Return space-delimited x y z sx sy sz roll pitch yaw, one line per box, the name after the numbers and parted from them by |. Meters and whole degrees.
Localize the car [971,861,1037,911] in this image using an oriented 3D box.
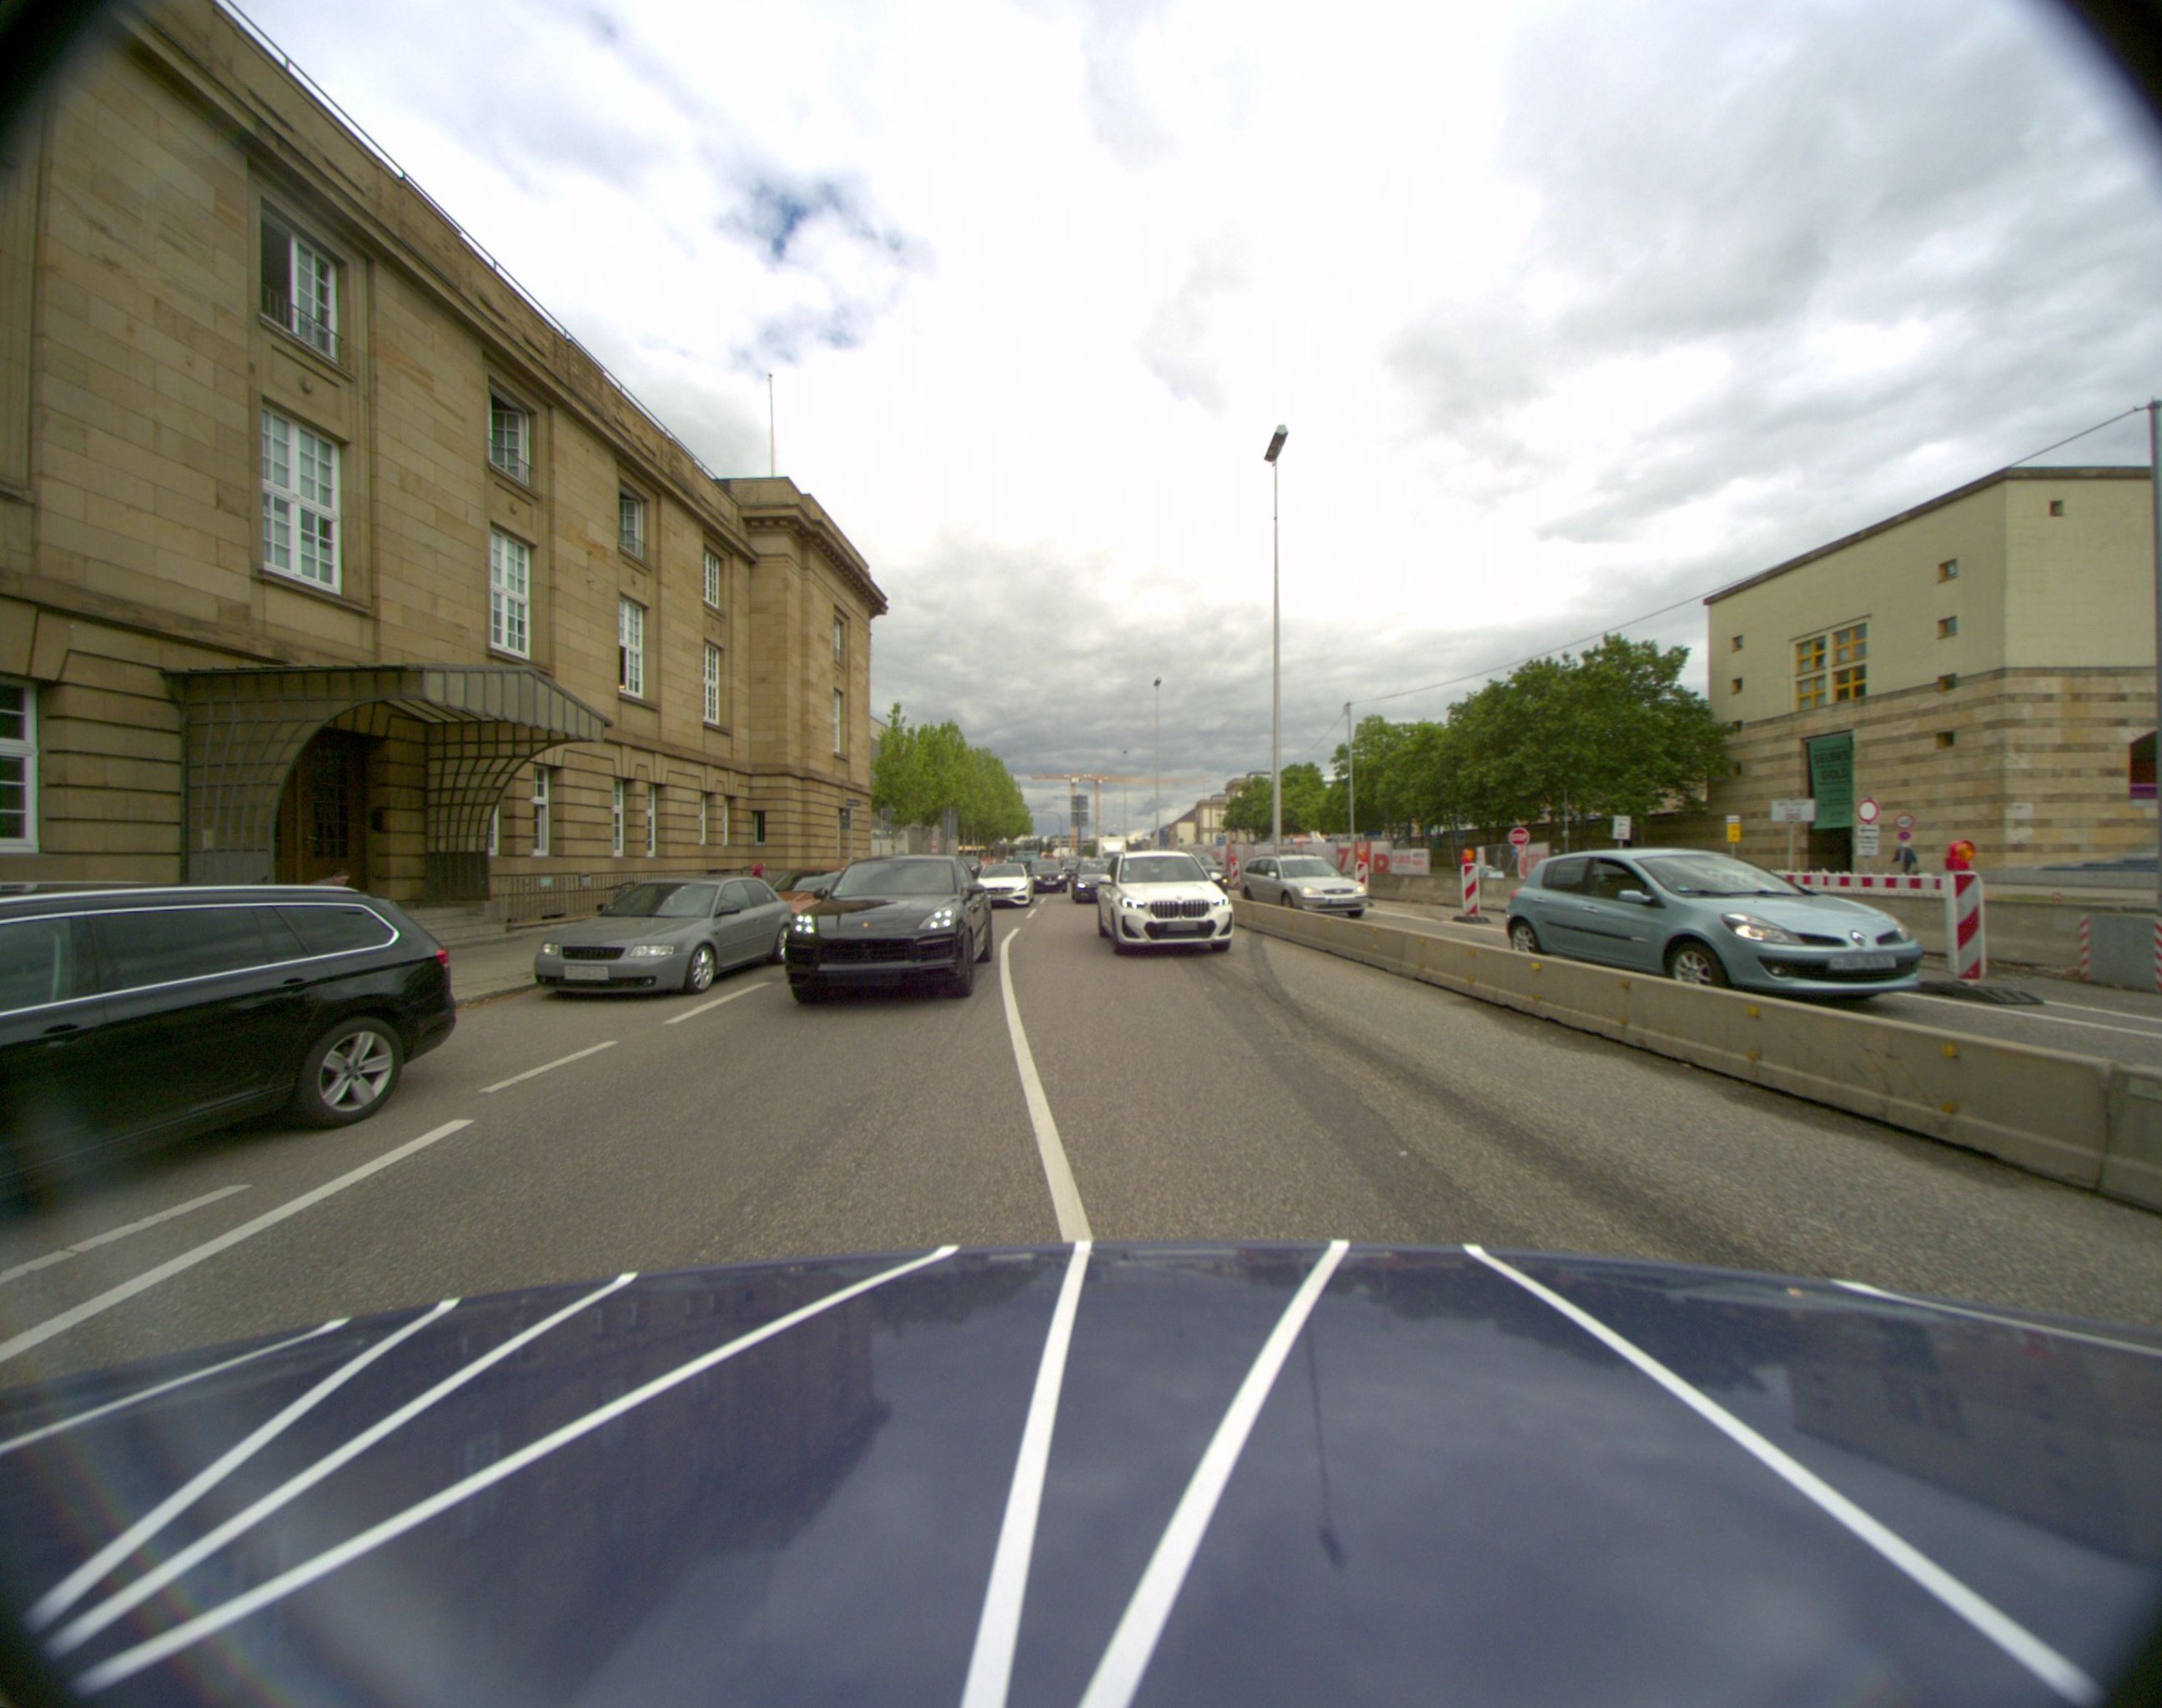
-2.475 1.005 25.235 1.935 1.368 3.998 -3 1 -3 | car

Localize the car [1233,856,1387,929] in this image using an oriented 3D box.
5.375 0.835 18.582 1.884 1.472 4.701 -2 0 -6 | car

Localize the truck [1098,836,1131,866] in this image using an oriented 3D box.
3.169 -0.259 74.168 2.978 2.757 7.255 0 0 1 | truck

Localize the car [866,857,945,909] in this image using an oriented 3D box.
-5.619 0.878 24.746 1.549 1.543 3.709 0 0 3 | car

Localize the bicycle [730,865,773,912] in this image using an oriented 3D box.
-9.573 0.965 22.105 0.413 1.280 1.790 -1 0 1 | bicycle

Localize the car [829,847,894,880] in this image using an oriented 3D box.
-10.632 0.456 37.152 1.782 1.460 4.575 -2 0 0 | car

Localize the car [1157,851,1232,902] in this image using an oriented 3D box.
3.923 0.734 26.917 1.781 1.611 4.044 -2 1 -3 | car

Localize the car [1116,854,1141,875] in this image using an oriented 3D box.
4.041 0.847 65.767 1.842 1.751 4.480 0 0 -1 | car

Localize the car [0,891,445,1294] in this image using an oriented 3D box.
-5.269 1.024 3.063 1.793 1.477 4.325 2 0 -1 | car

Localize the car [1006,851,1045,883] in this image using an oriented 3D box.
-3.372 0.765 47.205 1.952 1.914 4.399 -1 0 2 | car

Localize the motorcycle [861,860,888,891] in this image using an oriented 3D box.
-8.801 0.892 32.440 0.456 1.235 1.923 0 0 5 | motorcycle

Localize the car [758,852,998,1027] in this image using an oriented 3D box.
-2.241 0.920 9.634 1.908 1.647 4.202 -2 -2 -1 | car

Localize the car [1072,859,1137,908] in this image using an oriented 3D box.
0.701 0.920 25.416 1.803 1.429 4.019 -2 0 -3 | car

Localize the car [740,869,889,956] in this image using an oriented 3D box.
-5.266 1.080 15.532 1.619 1.446 3.858 0 0 1 | car

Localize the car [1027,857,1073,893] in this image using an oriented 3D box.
-1.434 0.905 33.786 1.613 1.464 3.619 -1 0 -9 | car

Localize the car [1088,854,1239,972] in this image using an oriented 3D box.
1.242 0.865 13.543 1.856 1.618 4.904 -2 1 -3 | car

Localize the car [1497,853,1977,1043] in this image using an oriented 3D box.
6.466 0.766 8.166 1.677 1.498 3.852 -2 0 -4 | car

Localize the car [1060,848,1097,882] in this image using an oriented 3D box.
-0.186 0.684 48.901 1.999 2.002 3.998 -2 0 -5 | car

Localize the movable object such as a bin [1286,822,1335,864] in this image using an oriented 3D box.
12.540 -0.575 41.661 1.526 2.172 3.292 -1 0 -3 | movable object such as a bin

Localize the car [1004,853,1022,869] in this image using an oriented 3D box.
-8.681 0.886 97.180 1.999 2.002 4.000 -1 0 -1 | car

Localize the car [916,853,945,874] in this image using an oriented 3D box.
-11.661 0.726 59.086 1.584 1.521 3.503 -2 0 -1 | car

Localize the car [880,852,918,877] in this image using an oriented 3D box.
-14.150 0.776 59.387 1.810 1.773 4.620 -4 0 -1 | car

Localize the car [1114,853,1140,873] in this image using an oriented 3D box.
3.458 0.664 57.854 1.652 1.430 3.934 -2 0 -1 | car

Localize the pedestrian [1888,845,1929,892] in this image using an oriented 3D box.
35.843 0.612 32.907 0.847 2.002 0.815 -3 1 2 | pedestrian

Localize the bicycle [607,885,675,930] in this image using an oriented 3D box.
-9.758 1.162 16.934 0.307 0.839 1.878 -2 0 3 | bicycle

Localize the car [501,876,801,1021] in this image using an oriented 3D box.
-5.355 1.072 10.161 1.713 1.418 3.996 0 0 1 | car

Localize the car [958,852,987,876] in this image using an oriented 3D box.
-8.245 0.783 58.209 1.810 1.728 4.484 -2 0 -4 | car

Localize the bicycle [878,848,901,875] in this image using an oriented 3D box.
-9.085 0.348 36.131 0.610 1.217 1.962 2 0 -2 | bicycle

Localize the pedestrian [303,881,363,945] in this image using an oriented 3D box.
-10.659 0.830 10.838 0.430 0.868 0.373 -3 1 3 | pedestrian

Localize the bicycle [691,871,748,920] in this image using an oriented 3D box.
-9.659 1.075 20.367 0.557 1.210 1.916 -1 0 1 | bicycle

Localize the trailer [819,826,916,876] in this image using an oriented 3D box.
-19.681 -0.387 71.585 3.154 4.077 13.979 -3 1 8 | trailer
